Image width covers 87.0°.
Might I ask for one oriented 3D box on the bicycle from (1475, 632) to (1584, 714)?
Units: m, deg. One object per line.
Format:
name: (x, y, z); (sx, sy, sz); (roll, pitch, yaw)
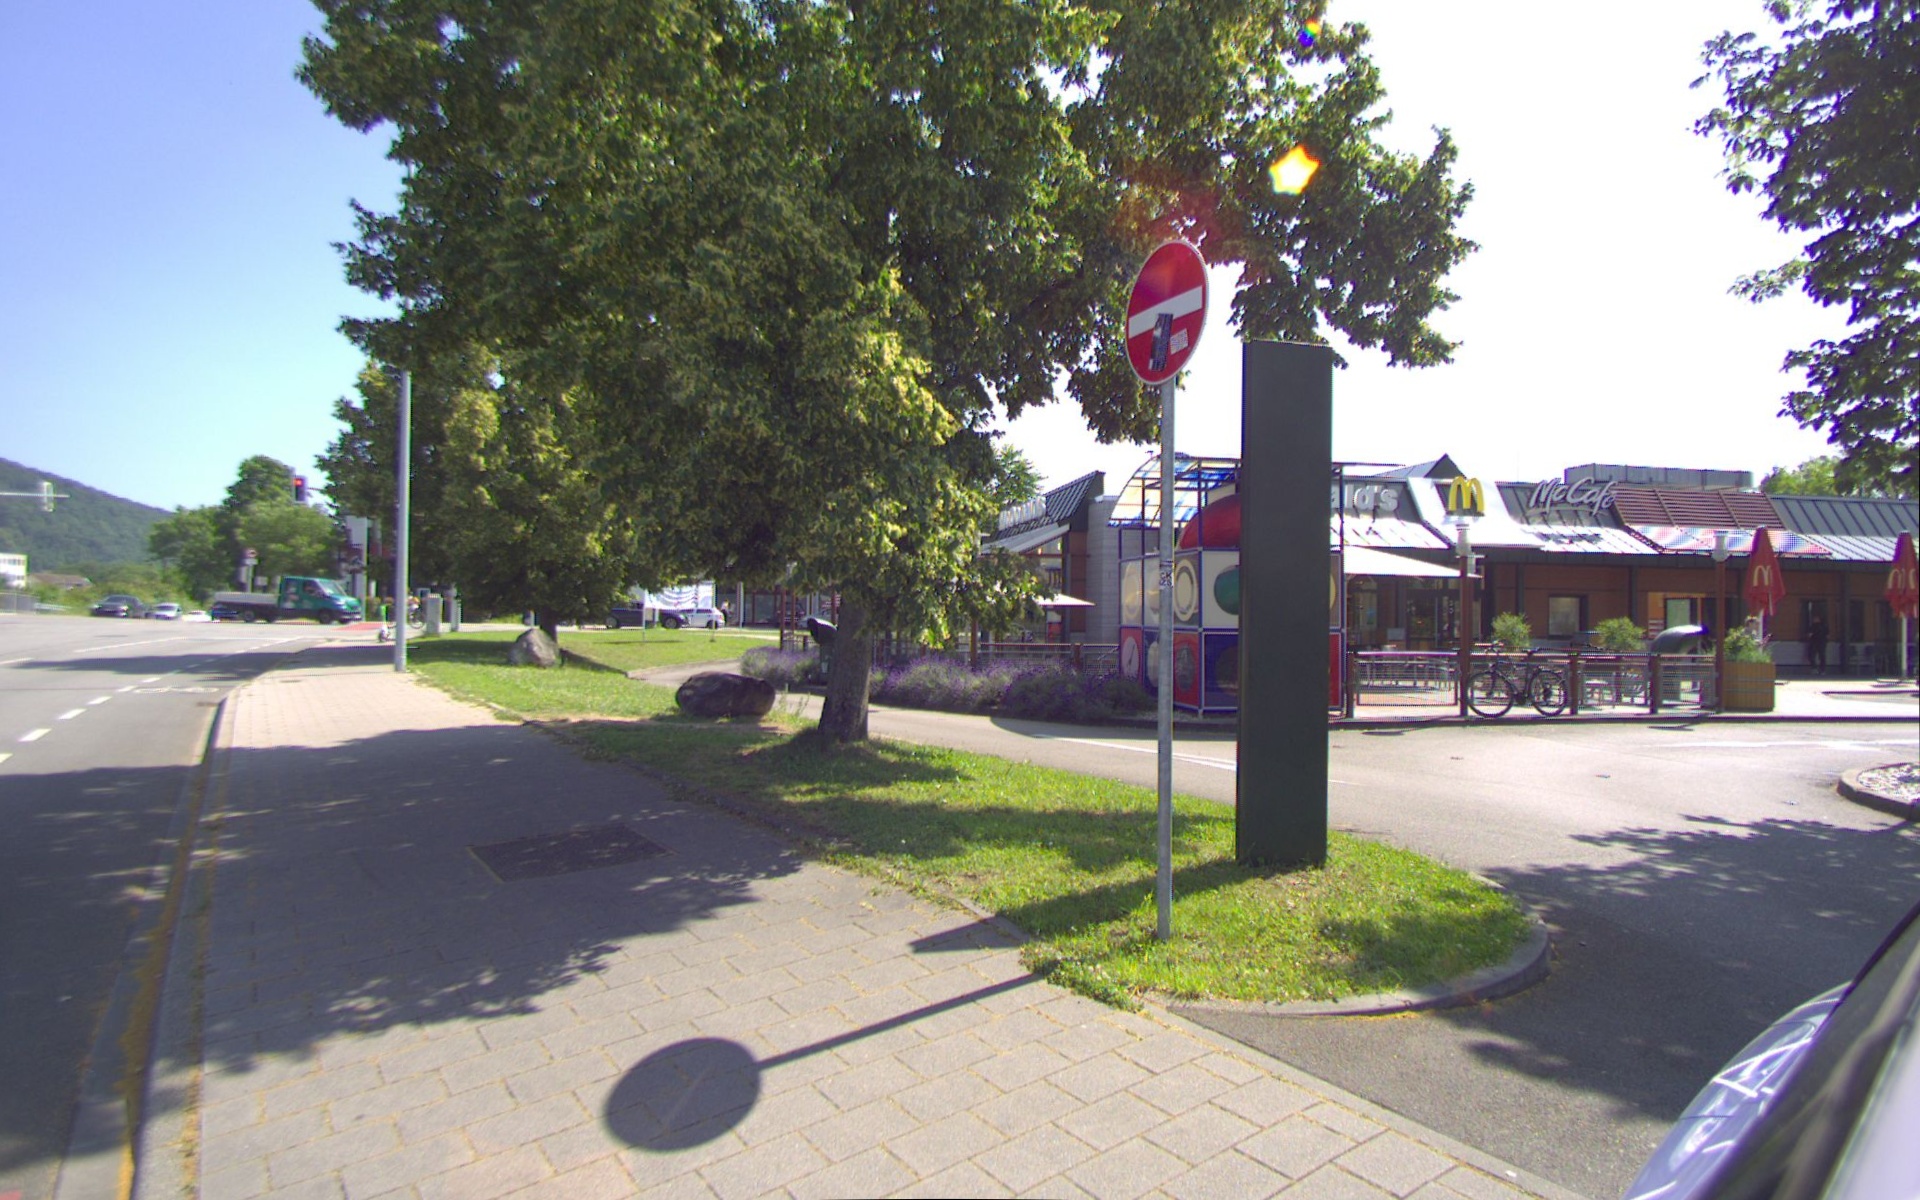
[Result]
bicycle: (8.766, 1.116, 15.591); (1.579, 1.201, 0.310); (-1, 1, -7)

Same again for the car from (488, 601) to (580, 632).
car: (-23.088, 0.900, 54.944); (4.280, 1.509, 1.836); (1, 2, -10)

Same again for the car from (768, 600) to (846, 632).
car: (-8.736, 0.884, 57.645); (4.280, 1.646, 1.836); (1, 2, -10)

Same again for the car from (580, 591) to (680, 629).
car: (-16.521, 0.499, 50.897); (4.519, 1.776, 1.888); (1, -1, -10)

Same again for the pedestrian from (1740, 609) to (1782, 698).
pedestrian: (14.721, 0.960, 18.600); (0.594, 1.587, 0.563); (0, -1, 39)

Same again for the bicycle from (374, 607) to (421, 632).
bicycle: (-25.052, 0.870, 45.084); (1.690, 1.056, 0.584); (2, 2, -9)

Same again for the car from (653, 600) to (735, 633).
car: (-14.932, 0.904, 56.988); (4.280, 1.646, 1.836); (1, 2, -10)

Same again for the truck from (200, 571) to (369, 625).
truck: (-32.377, -0.068, 48.716); (6.255, 2.406, 2.388); (1, -1, -11)

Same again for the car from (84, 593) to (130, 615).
car: (-52.892, 0.236, 62.796); (1.579, 1.271, 3.685); (2, -1, -31)

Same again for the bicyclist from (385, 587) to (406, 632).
bicyclist: (-25.148, 0.419, 45.061); (0.643, 1.919, 0.553); (2, 1, -9)

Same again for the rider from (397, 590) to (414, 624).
rider: (-30.886, 0.403, 56.406); (0.671, 1.835, 0.549); (1, 2, -10)

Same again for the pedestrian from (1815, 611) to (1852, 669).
pedestrian: (25.390, 1.158, 29.423); (0.610, 1.672, 0.543); (1, -1, -10)

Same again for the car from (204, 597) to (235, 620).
car: (-52.627, 0.607, 71.918); (1.582, 1.555, 3.679); (2, -1, -39)

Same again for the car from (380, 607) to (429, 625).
car: (-30.948, 0.908, 56.404); (2.333, 0.913, 0.577); (1, 2, -10)
